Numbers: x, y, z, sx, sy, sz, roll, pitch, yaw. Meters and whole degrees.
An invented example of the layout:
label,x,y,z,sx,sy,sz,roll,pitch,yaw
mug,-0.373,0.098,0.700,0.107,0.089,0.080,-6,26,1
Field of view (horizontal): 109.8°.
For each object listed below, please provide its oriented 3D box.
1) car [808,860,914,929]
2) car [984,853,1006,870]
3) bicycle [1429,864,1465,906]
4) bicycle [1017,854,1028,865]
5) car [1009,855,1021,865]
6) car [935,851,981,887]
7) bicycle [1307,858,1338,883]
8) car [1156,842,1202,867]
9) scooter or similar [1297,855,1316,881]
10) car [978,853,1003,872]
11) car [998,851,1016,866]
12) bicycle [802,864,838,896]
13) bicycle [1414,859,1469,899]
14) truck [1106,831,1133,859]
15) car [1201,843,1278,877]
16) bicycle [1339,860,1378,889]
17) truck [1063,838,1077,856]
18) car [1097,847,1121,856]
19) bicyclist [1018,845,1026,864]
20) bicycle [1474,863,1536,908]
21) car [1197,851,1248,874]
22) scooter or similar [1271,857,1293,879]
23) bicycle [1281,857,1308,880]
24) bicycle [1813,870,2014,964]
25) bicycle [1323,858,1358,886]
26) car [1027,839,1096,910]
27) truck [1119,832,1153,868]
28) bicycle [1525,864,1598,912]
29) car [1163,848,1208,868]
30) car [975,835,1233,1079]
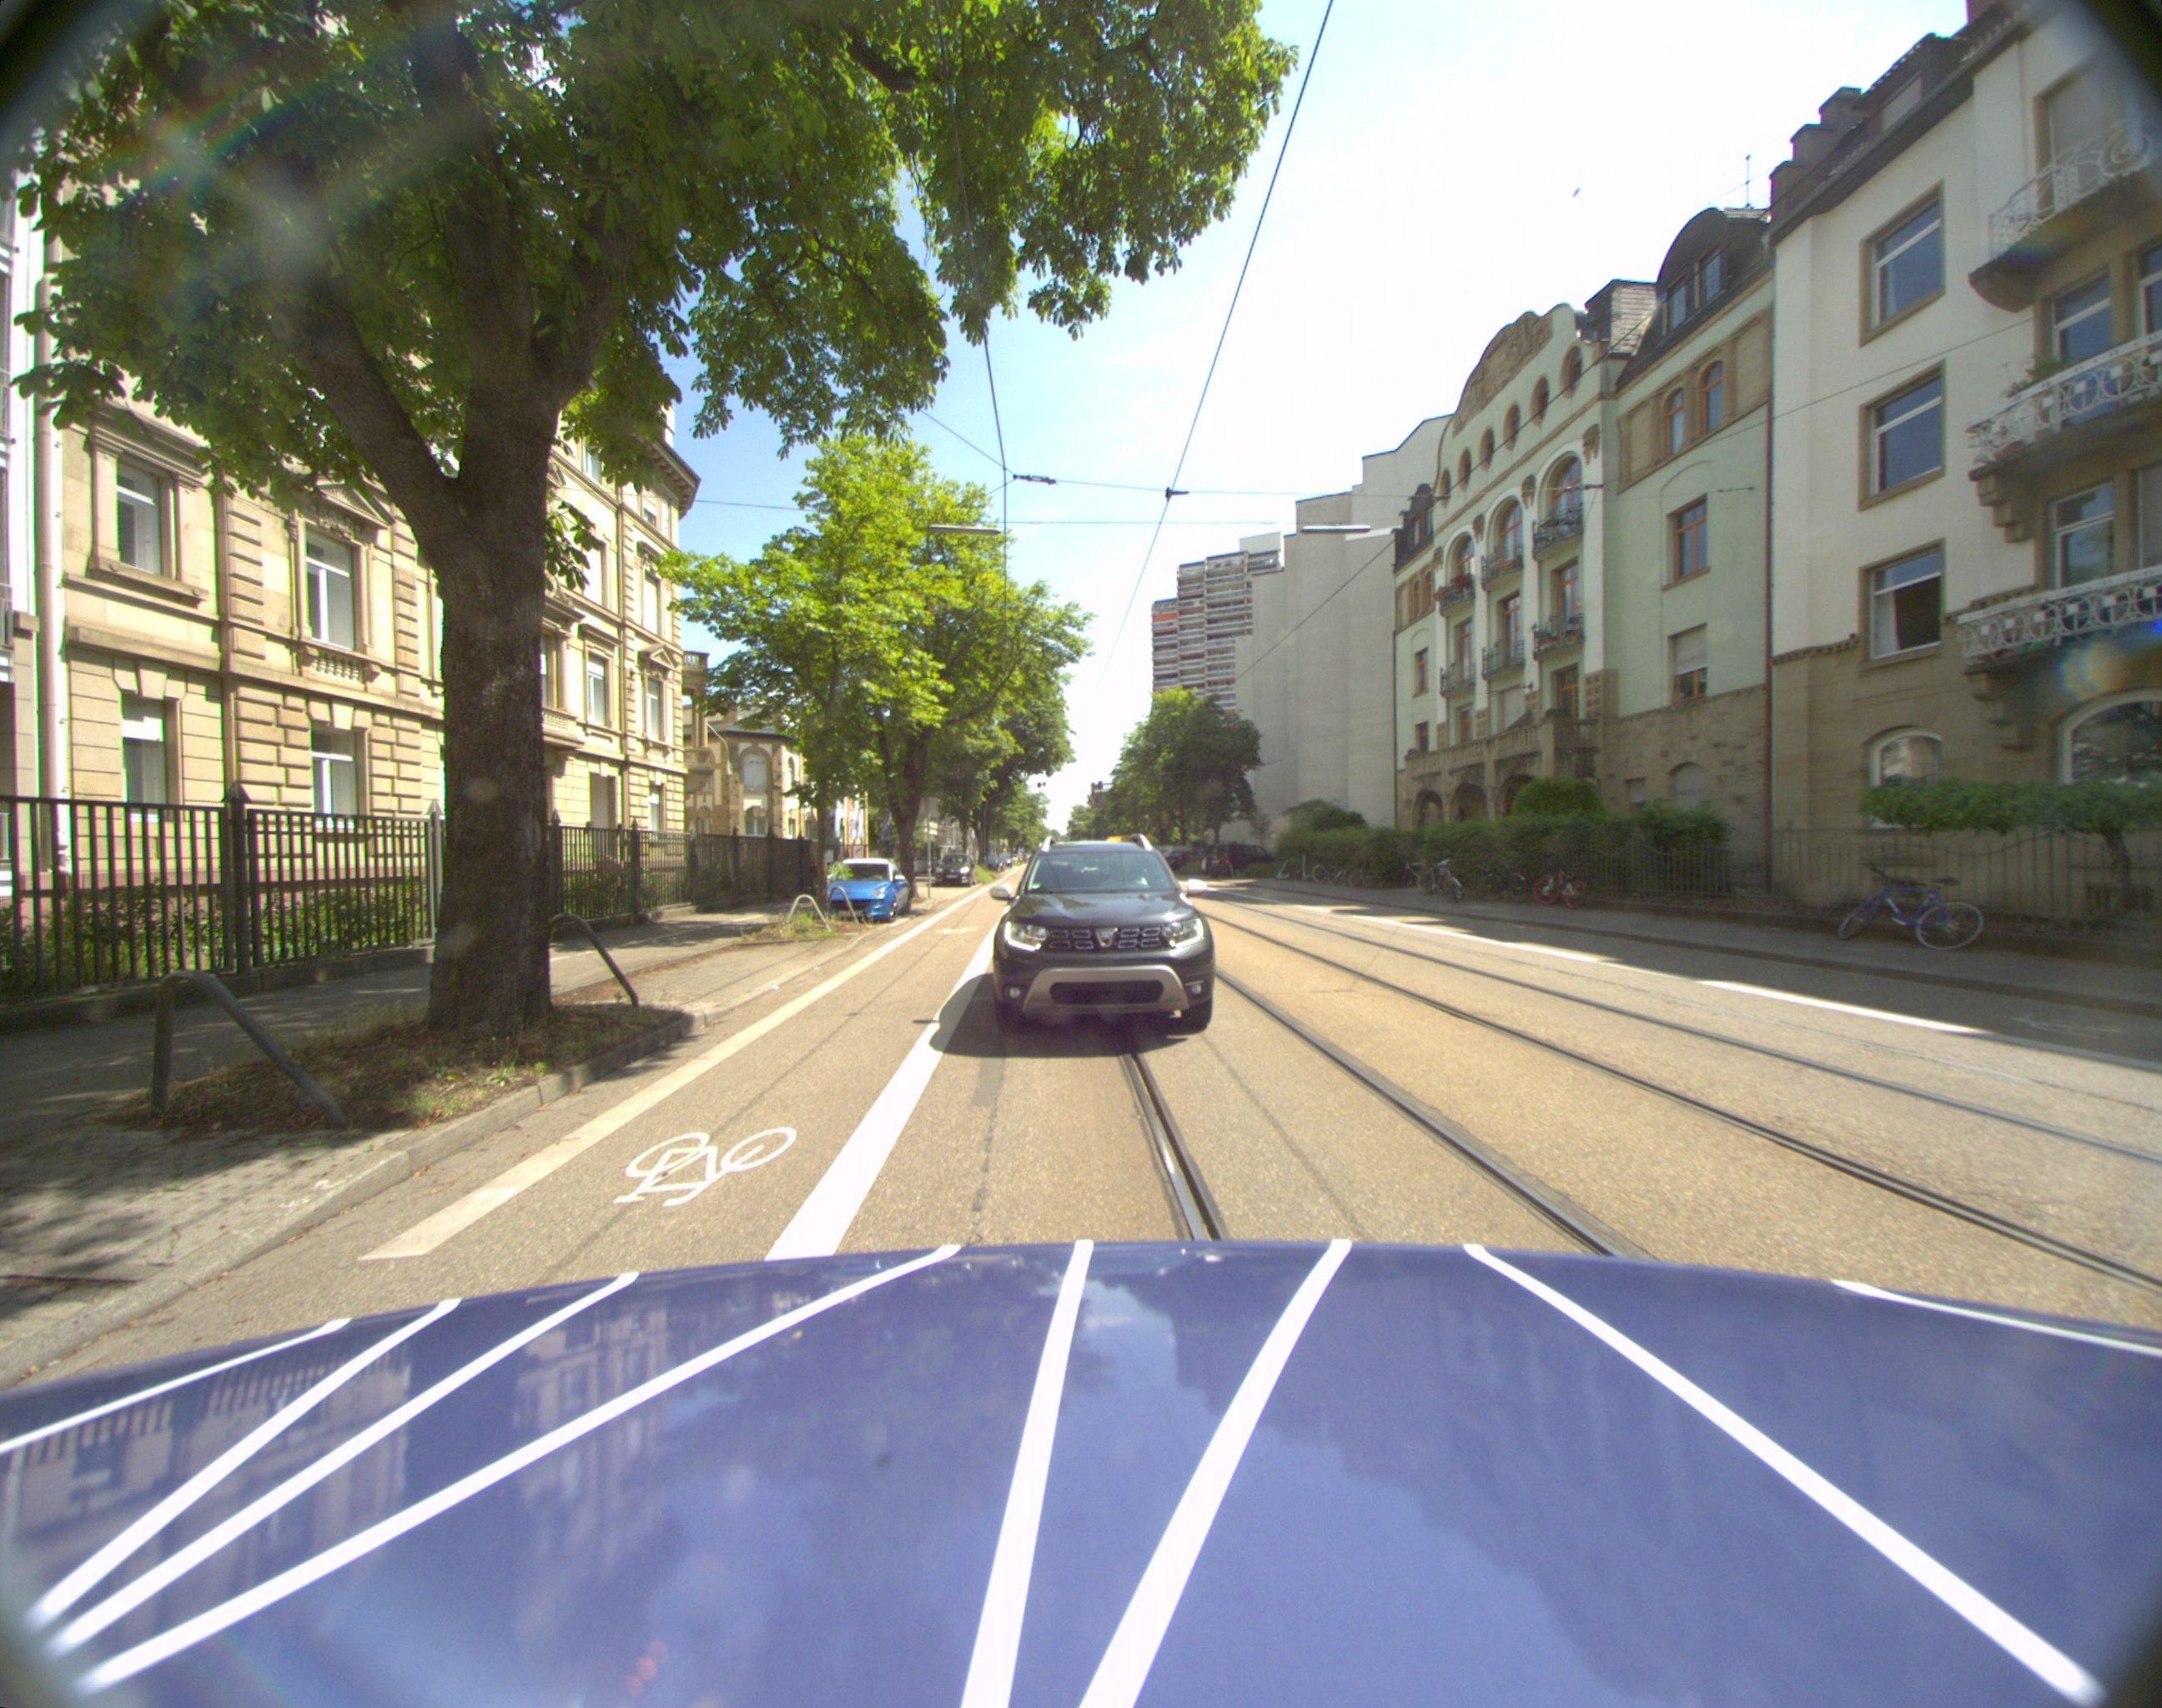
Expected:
label,x,y,z,sx,sy,sz,roll,pitch,yaw
car,-5.193,0.906,18.370,1.696,1.444,3.472,-1,0,-3
car,-7.414,0.599,66.019,1.626,1.395,3.999,2,0,-3
bicycle,9.429,0.762,19.527,0.608,0.993,1.778,0,1,33
bicycle,-6.370,0.601,82.413,0.813,1.089,2.171,-1,1,-15
car,-9.775,0.817,112.740,1.626,1.395,3.999,2,0,-3
car,-5.983,0.703,37.265,1.734,1.607,4.083,1,0,-2
bicycle,9.938,0.665,31.349,0.609,0.983,1.707,-5,1,-3
car,8.302,0.016,63.923,4.061,2.030,1.598,-1,1,-43
scooter or similar,9.834,0.607,33.120,0.407,1.113,1.290,-1,1,-1
car,-7.048,0.664,59.421,1.626,1.395,3.822,2,0,-3
car,-7.633,0.458,78.245,1.626,1.395,3.999,2,0,-3
bicycle,-9.384,0.928,27.380,0.609,1.065,1.980,-1,0,-1
bicycle,10.398,0.698,21.975,0.609,1.026,1.771,-5,1,-3
truck,6.109,-1.335,119.263,2.673,4.156,10.481,-1,0,11
car,9.289,0.317,44.384,4.595,1.914,1.957,-1,1,-40
bicycle,10.010,0.722,27.469,0.609,0.970,1.771,-5,1,-3
truck,-2.298,-1.469,162.456,2.792,3.598,8.255,-1,0,0
car,5.539,-0.466,149.086,4.338,1.797,1.995,-1,1,-35
bicyclist,-6.409,0.076,82.431,0.774,2.002,0.806,-1,1,-17
bicycle,10.396,0.752,18.695,0.465,0.993,1.707,-4,1,-2
car,9.535,0.520,50.934,1.721,1.445,3.635,0,1,42
scooter or similar,9.628,0.665,36.450,0.407,1.014,1.222,-1,1,-18
bicycle,9.772,0.665,34.758,0.609,0.983,1.707,-5,1,-3
bicycle,10.924,0.781,10.076,0.609,1.058,1.771,-5,1,-3
bicycle,10.015,0.691,29.363,0.609,0.983,1.707,-5,1,-3
car,-0.597,0.536,22.593,1.753,1.806,4.307,-3,1,-2
truck,4.593,-0.341,64.525,2.307,2.903,6.514,-1,0,-1
bicycle,10.650,0.725,16.901,0.414,0.960,1.725,-4,1,-3
car,8.328,0.297,60.396,1.678,1.566,3.692,1,2,45
car,0.081,0.707,7.482,1.753,1.641,4.296,-2,0,-2
